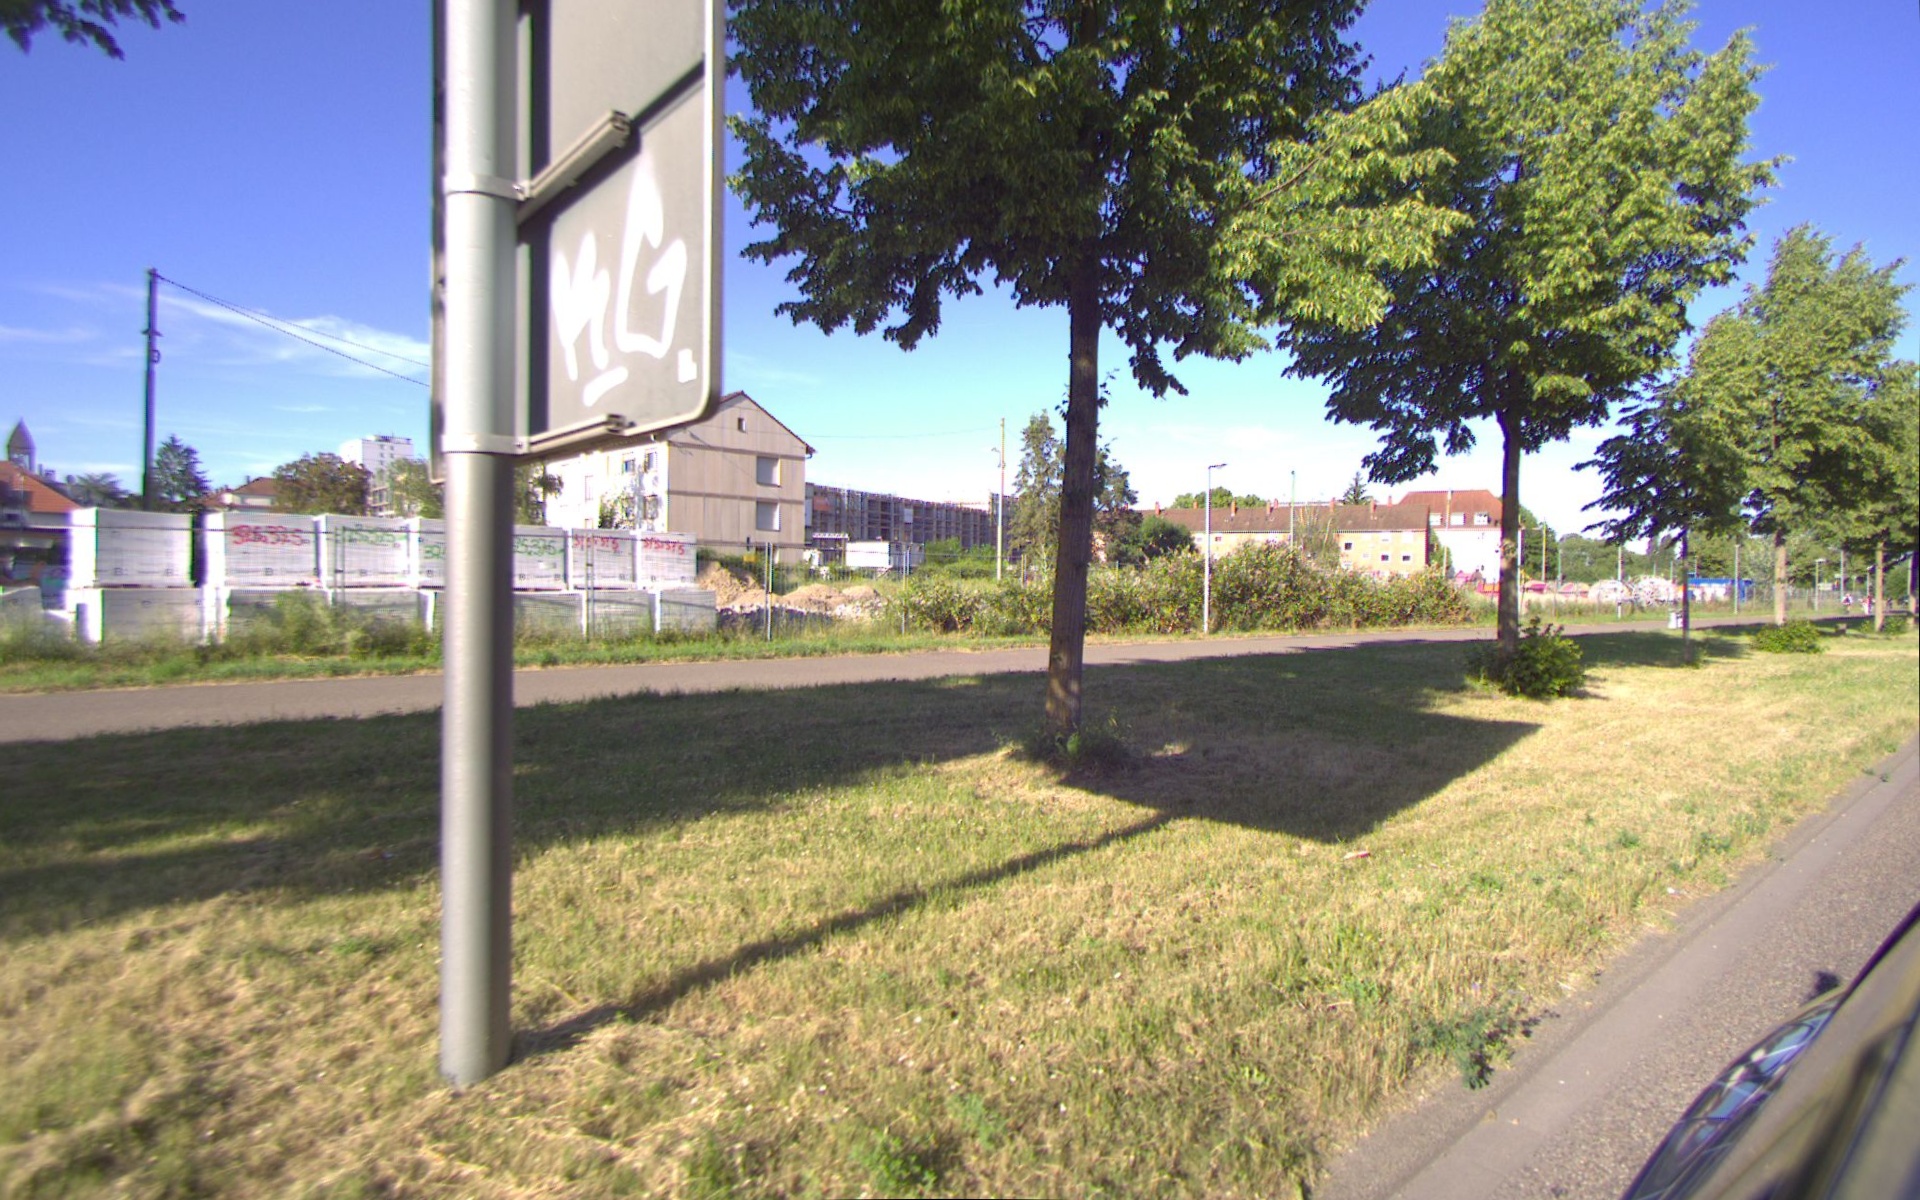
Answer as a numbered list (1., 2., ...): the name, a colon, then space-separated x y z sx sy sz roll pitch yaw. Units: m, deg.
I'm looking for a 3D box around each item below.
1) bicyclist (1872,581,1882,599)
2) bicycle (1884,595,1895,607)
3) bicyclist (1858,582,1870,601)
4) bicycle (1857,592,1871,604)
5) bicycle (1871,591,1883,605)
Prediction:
1. bicyclist: 77.423 -0.817 85.433 0.819 1.491 0.503 -1 1 -42
2. bicycle: 85.422 0.101 93.035 1.868 0.972 0.592 -2 2 -42
3. bicyclist: 77.076 -0.740 86.292 0.781 1.572 0.654 -1 1 -40
4. bicycle: 77.074 -0.140 86.282 1.788 1.025 0.656 0 0 -41
5. bicycle: 77.417 -0.172 85.419 1.577 1.166 0.506 0 3 -42
